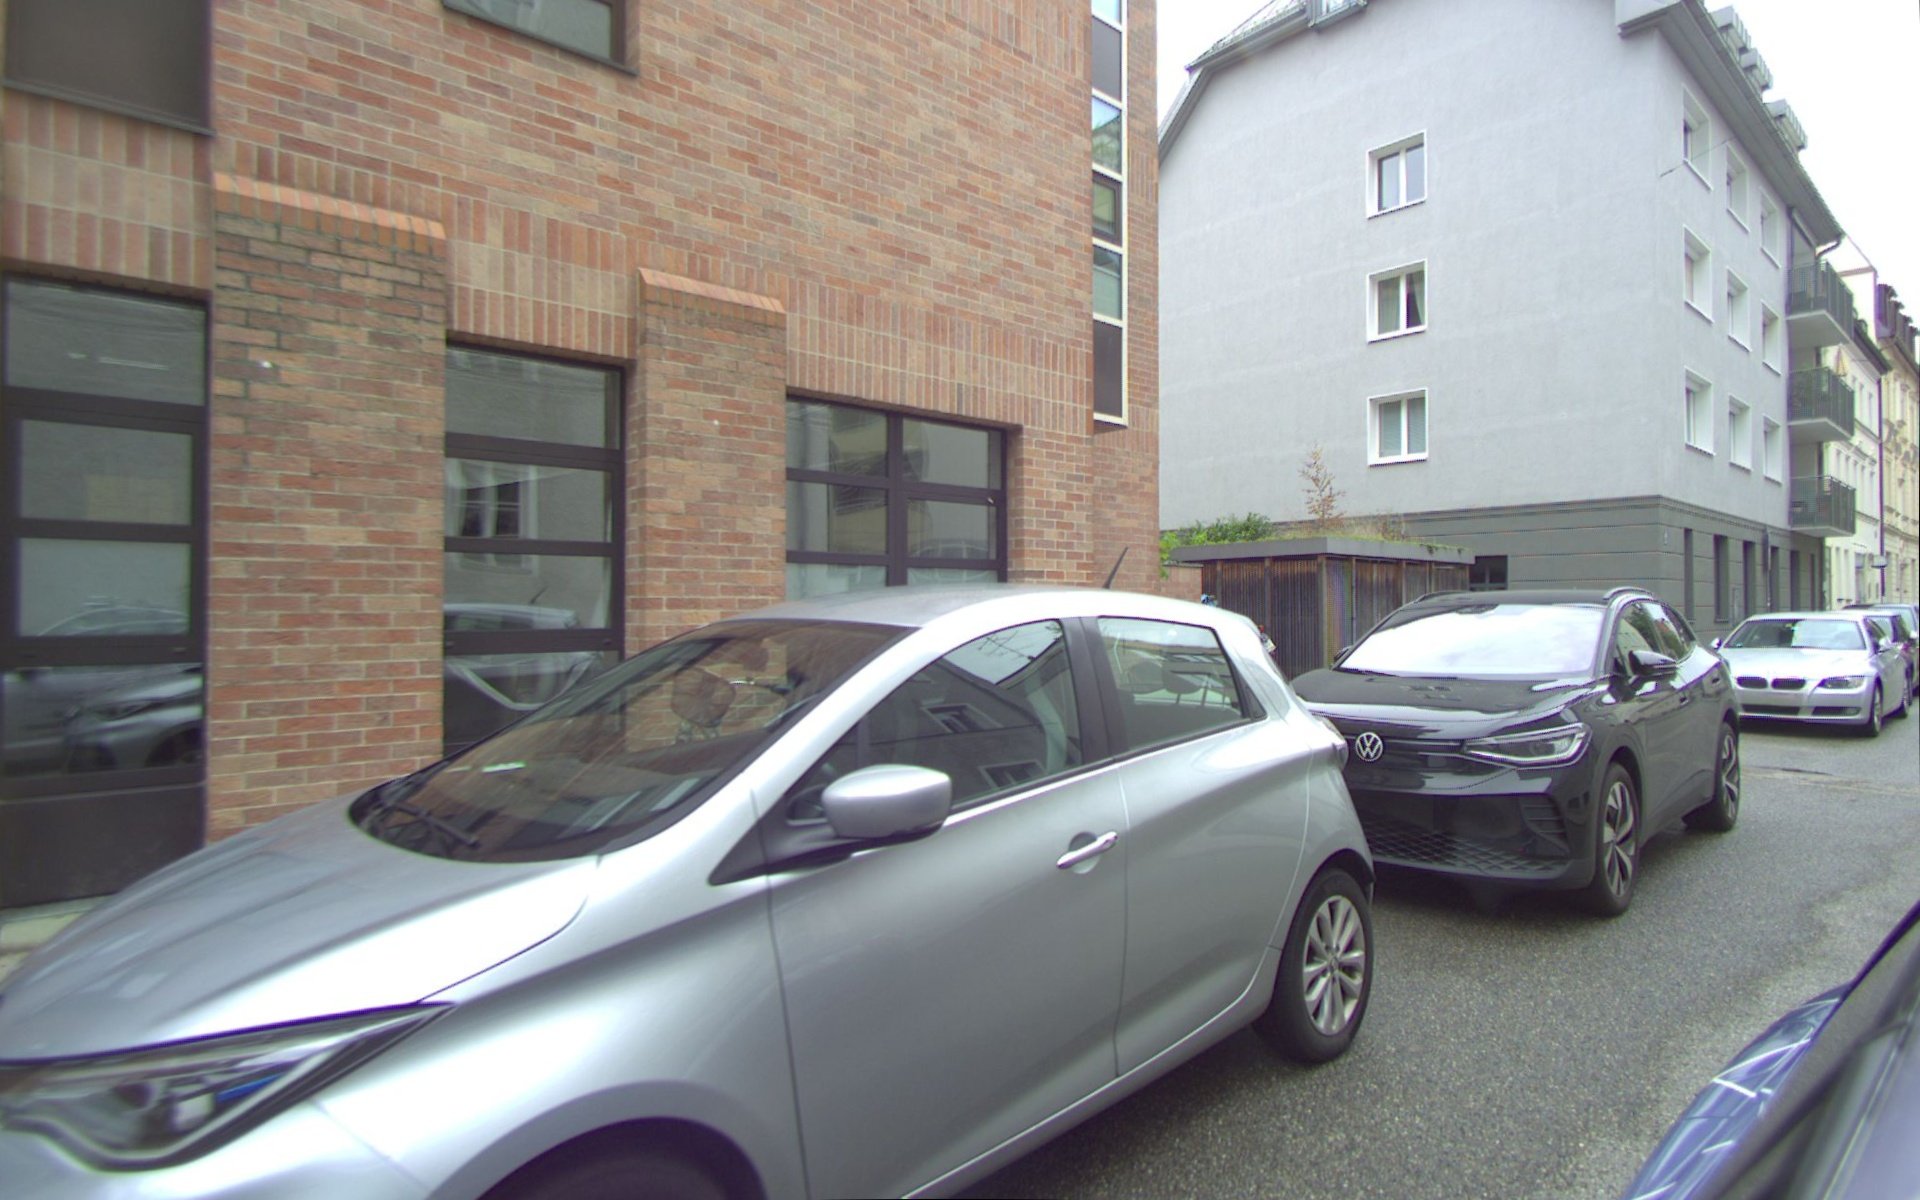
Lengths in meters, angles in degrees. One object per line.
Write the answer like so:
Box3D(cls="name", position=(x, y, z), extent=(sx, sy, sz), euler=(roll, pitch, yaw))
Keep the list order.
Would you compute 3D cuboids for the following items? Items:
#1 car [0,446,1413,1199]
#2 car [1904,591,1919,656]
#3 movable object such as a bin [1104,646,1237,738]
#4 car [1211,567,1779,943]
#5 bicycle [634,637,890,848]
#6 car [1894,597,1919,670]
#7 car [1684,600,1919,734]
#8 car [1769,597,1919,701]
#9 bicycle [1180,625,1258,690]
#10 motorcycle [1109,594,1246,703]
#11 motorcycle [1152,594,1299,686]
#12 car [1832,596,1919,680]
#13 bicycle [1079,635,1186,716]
Box3D(cls="car", position=(-0.322, 0.644, 2.933), extent=(3.818, 1.656, 1.722), euler=(-1, 1, -44))
Box3D(cls="car", position=(25.542, 0.595, 25.778), extent=(4.243, 1.590, 1.878), euler=(0, 1, -43))
Box3D(cls="movable object such as a bin", position=(2.177, 0.924, 10.521), extent=(0.828, 0.842, 1.089), euler=(0, -1, -40))
Box3D(cls="car", position=(3.621, 0.663, 6.438), extent=(4.317, 1.575, 1.887), euler=(0, -1, -43))
Box3D(cls="bicycle", position=(-1.174, 0.793, 6.165), extent=(1.446, 1.093, 0.560), euler=(0, -1, -41))
Box3D(cls="car", position=(22.278, 0.695, 22.491), extent=(4.219, 1.548, 1.842), euler=(0, -1, -42))
Box3D(cls="car", position=(11.026, 0.728, 13.042), extent=(4.522, 1.435, 1.838), euler=(0, -1, -42))
Box3D(cls="car", position=(14.640, 0.715, 16.396), extent=(4.079, 1.480, 1.747), euler=(0, -1, -42))
Box3D(cls="bicycle", position=(3.774, 0.814, 14.705), extent=(1.296, 0.870, 0.375), euler=(0, 0, -38))
Box3D(cls="motorcycle", position=(2.909, 0.603, 13.451), extent=(1.901, 1.361, 0.542), euler=(0, 0, -30))
Box3D(cls="motorcycle", position=(4.185, 0.586, 16.167), extent=(0.540, 1.360, 2.523), euler=(0, 0, -35))
Box3D(cls="car", position=(18.288, 0.696, 19.750), extent=(3.147, 1.531, 1.523), euler=(0, -1, -42))
Box3D(cls="bicycle", position=(2.056, 0.880, 12.166), extent=(0.406, 0.870, 1.318), euler=(0, 0, -40))
